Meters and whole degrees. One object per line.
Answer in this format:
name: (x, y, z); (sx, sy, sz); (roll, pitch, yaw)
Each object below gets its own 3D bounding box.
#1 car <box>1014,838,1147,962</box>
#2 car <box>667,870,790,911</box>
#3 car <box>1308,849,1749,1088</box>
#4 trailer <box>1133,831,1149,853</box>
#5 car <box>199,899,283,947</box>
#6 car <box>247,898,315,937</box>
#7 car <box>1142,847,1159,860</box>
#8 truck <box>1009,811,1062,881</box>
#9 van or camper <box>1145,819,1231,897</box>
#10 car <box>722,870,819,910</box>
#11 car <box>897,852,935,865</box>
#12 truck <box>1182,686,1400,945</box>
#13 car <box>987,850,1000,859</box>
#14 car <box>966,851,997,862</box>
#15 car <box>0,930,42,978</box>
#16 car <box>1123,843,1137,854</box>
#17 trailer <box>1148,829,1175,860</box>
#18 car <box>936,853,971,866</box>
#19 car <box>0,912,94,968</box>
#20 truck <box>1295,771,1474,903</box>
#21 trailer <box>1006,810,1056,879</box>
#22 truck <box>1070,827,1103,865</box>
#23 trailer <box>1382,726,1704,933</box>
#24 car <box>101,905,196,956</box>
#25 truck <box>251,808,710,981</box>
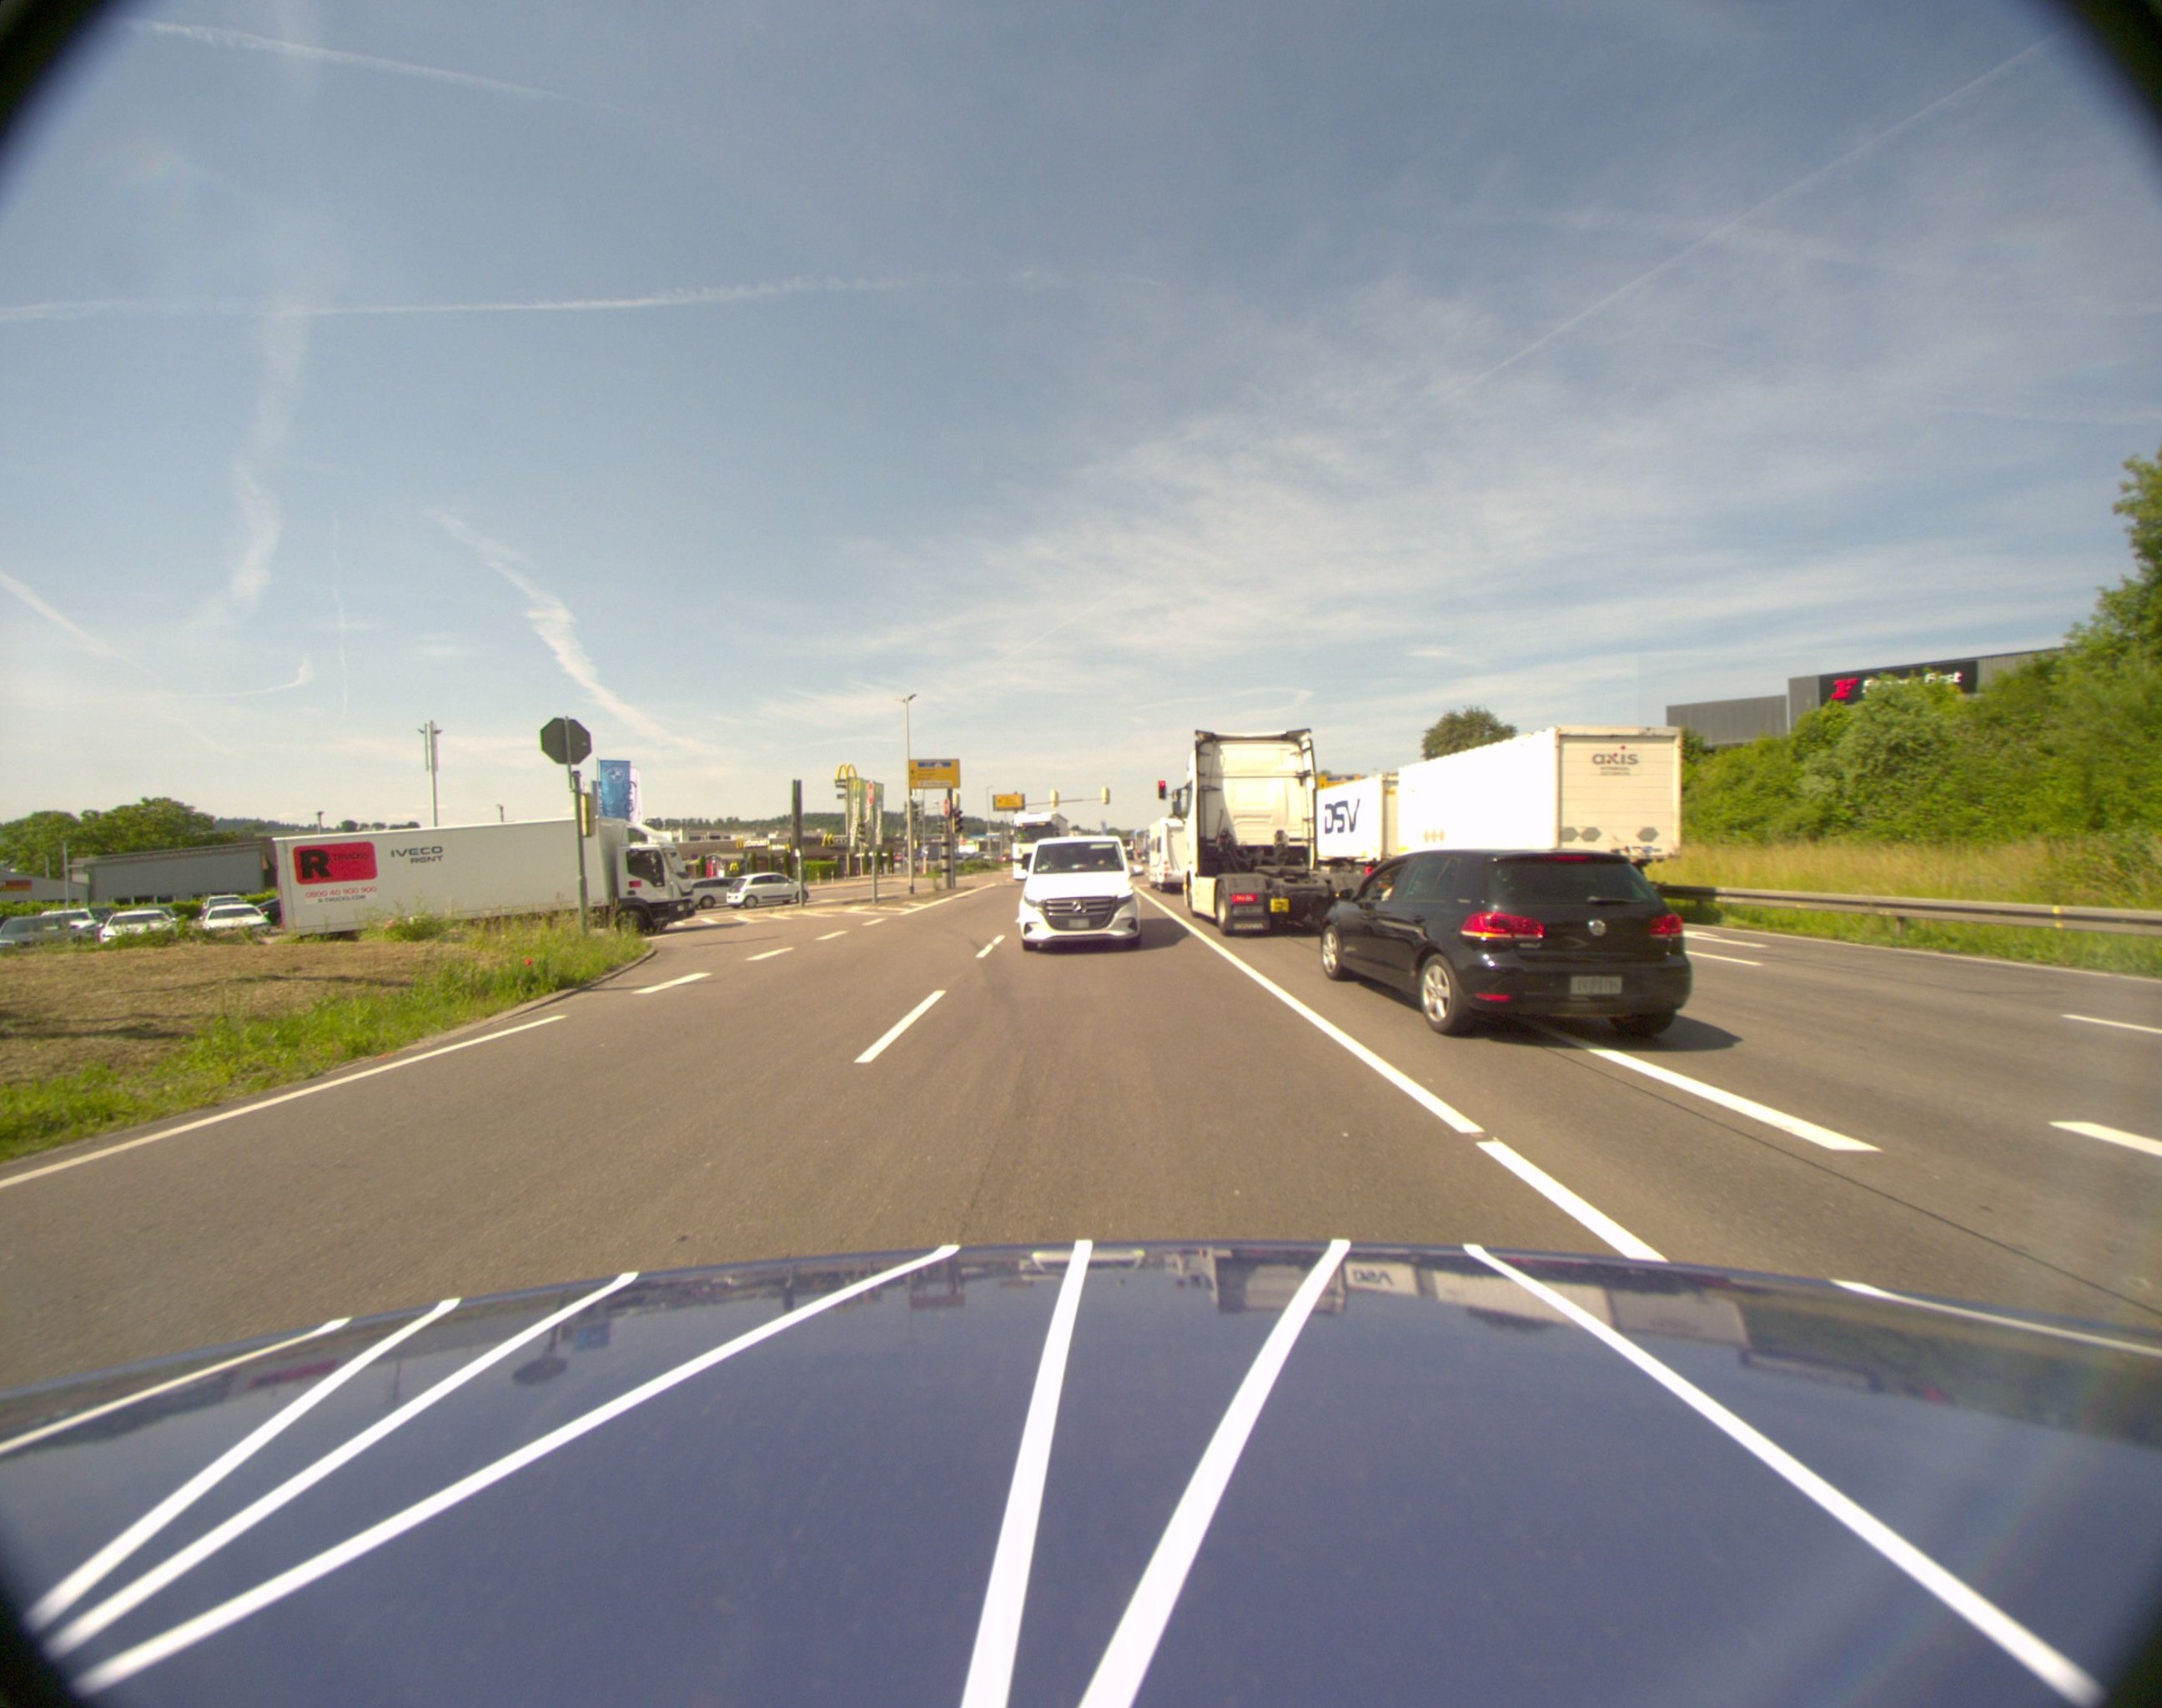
car: (0.127, 0.661, 14.333); (1.993, 1.858, 5.803); (0, 1, 3)
car: (-17.318, 1.745, 37.546); (1.994, 1.497, 5.008); (-2, 2, 42)
car: (3.561, 0.748, 7.070); (1.715, 1.542, 4.108); (0, 1, 1)
trailer: (12.032, -2.430, 152.605); (2.698, 4.124, 13.879); (0, 1, 2)
car: (-36.106, 2.893, 32.637); (4.466, 1.609, 2.004); (0, 1, 37)
car: (-41.183, 3.217, 39.083); (4.069, 1.609, 2.013); (0, 1, 38)
car: (8.261, -0.044, 90.677); (1.729, 1.493, 3.999); (1, 1, 0)
truck: (-2.861, -0.502, 46.107); (2.649, 3.964, 6.036); (-1, 1, -8)
van or camper: (3.890, 0.090, 28.935); (2.336, 2.585, 6.977); (0, 1, 0)
car: (-14.571, 1.645, 35.764); (1.706, 1.496, 3.762); (-2, 2, 41)
car: (-21.819, 0.572, 100.496); (1.907, 1.661, 4.828); (0, 1, 38)
truck: (3.734, -0.646, 15.113); (2.543, 4.064, 6.264); (0, 1, 0)
car: (-16.314, 0.075, 141.685); (1.907, 1.645, 4.709); (0, 1, -1)
car: (-14.662, 0.357, 111.934); (4.031, 1.661, 1.772); (-1, 1, -28)
car: (-45.500, 4.210, 31.917); (4.069, 1.609, 2.013); (0, 1, 38)
car: (7.420, -0.879, 115.727); (1.998, 1.716, 4.000); (0, 1, 2)
trailer: (11.145, -1.327, 106.503); (3.100, 4.056, 14.128); (0, 1, 3)
car: (-16.131, 0.705, 96.432); (1.855, 1.567, 4.242); (0, 1, 38)
car: (-39.072, 3.175, 28.618); (4.023, 1.609, 2.096); (0, 1, 35)
truck: (10.817, -0.595, 28.539); (2.837, 4.092, 9.680); (0, 1, 0)
trailer: (-3.577, -0.659, 51.888); (2.615, 4.203, 11.282); (-1, 1, -8)
truck: (0.724, -0.940, 84.403); (2.646, 3.964, 9.242); (0, 1, 6)
trailer: (10.799, -0.539, 19.303); (2.847, 4.046, 8.754); (0, 1, 0)
car: (-37.634, 3.020, 30.642); (4.461, 1.609, 2.096); (0, 1, 35)
truck: (-16.449, 0.951, 21.835); (9.705, 3.608, 2.763); (-6, 2, -15)
